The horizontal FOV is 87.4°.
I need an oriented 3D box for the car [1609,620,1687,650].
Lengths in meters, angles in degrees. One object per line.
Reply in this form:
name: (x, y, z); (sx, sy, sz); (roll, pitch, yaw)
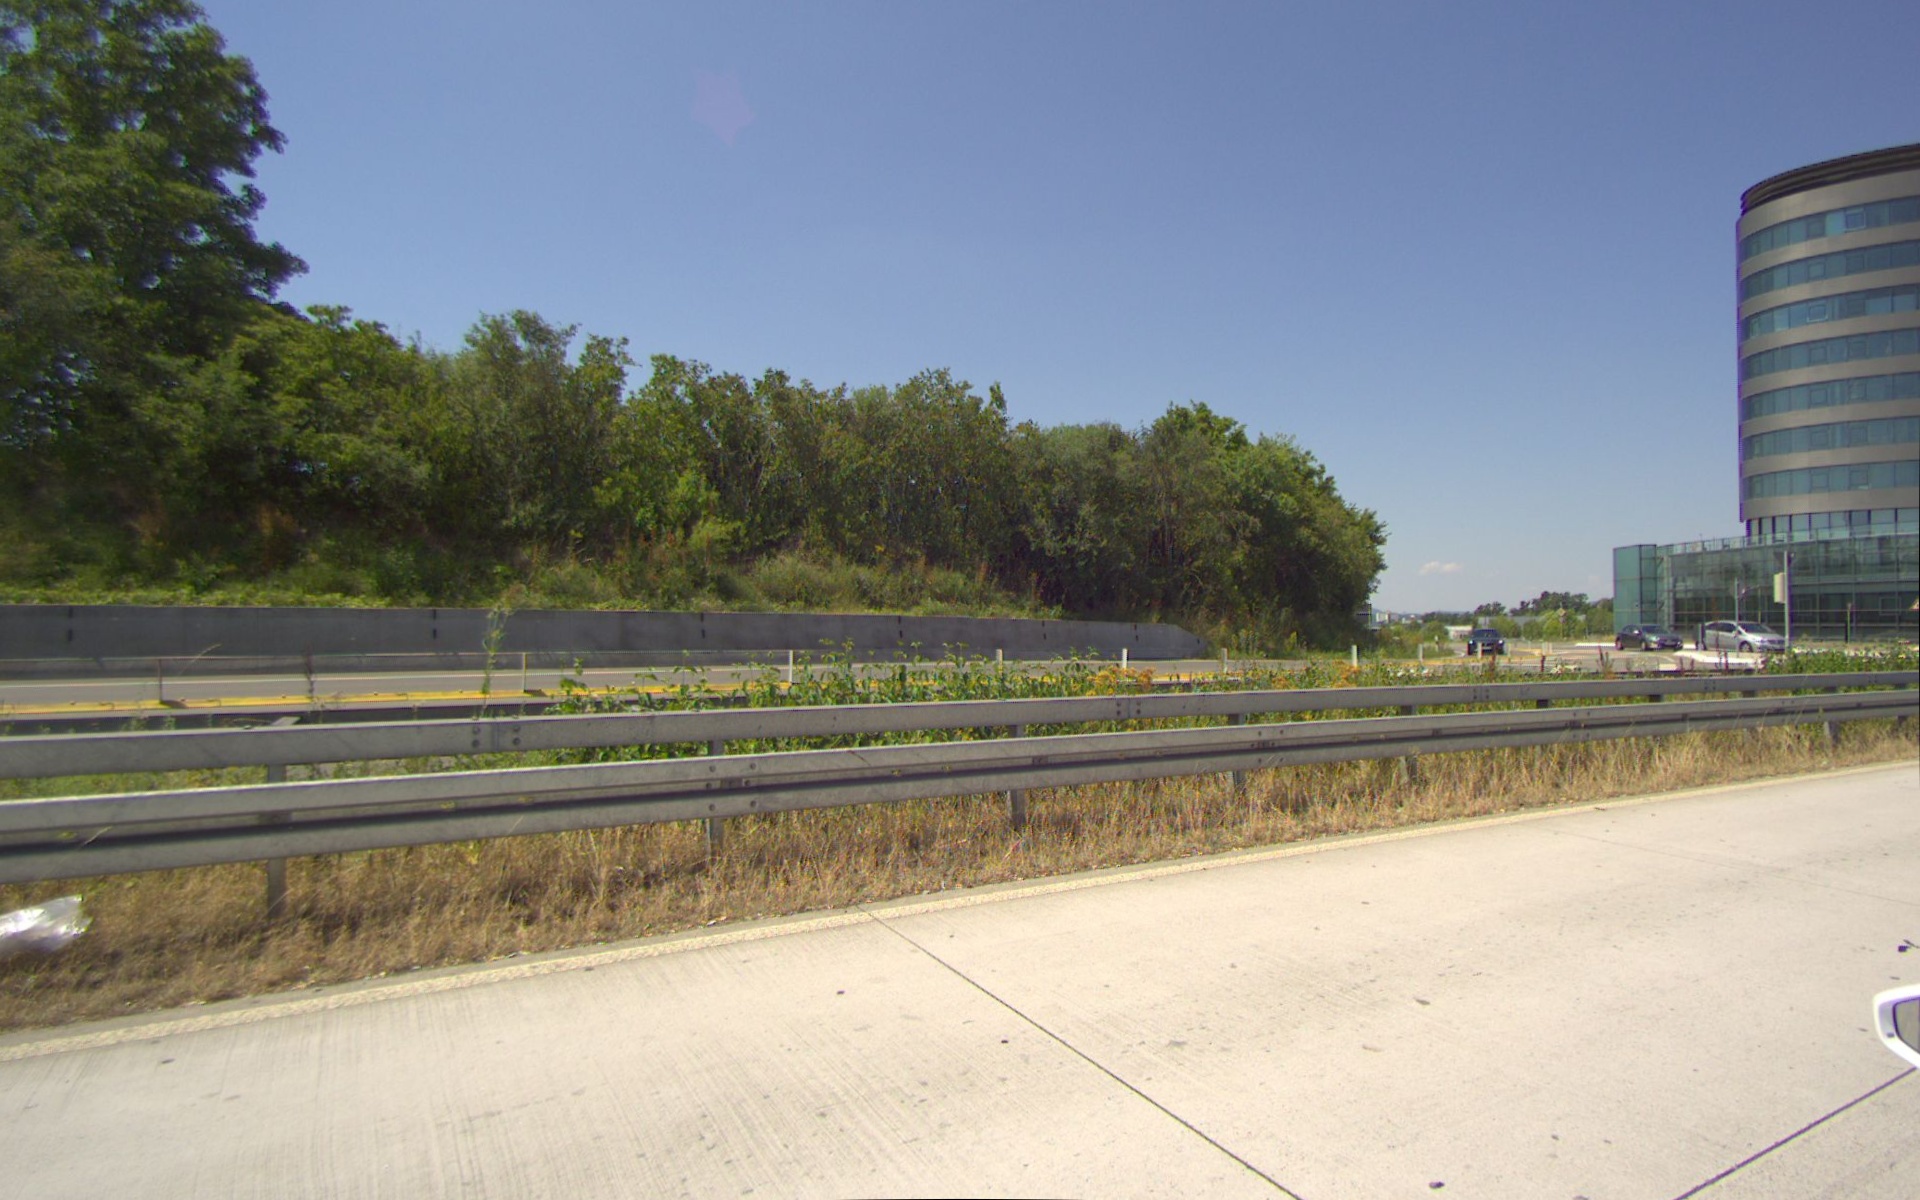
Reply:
car: (37.333, 1.925, 54.631); (1.663, 1.475, 4.333); (2, -2, 6)

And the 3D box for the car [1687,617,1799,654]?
car: (36.499, 1.671, 46.983); (1.742, 1.616, 4.329); (2, -2, -2)

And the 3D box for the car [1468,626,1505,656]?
car: (28.901, 2.239, 55.147); (1.685, 1.504, 4.288); (2, 0, 28)
